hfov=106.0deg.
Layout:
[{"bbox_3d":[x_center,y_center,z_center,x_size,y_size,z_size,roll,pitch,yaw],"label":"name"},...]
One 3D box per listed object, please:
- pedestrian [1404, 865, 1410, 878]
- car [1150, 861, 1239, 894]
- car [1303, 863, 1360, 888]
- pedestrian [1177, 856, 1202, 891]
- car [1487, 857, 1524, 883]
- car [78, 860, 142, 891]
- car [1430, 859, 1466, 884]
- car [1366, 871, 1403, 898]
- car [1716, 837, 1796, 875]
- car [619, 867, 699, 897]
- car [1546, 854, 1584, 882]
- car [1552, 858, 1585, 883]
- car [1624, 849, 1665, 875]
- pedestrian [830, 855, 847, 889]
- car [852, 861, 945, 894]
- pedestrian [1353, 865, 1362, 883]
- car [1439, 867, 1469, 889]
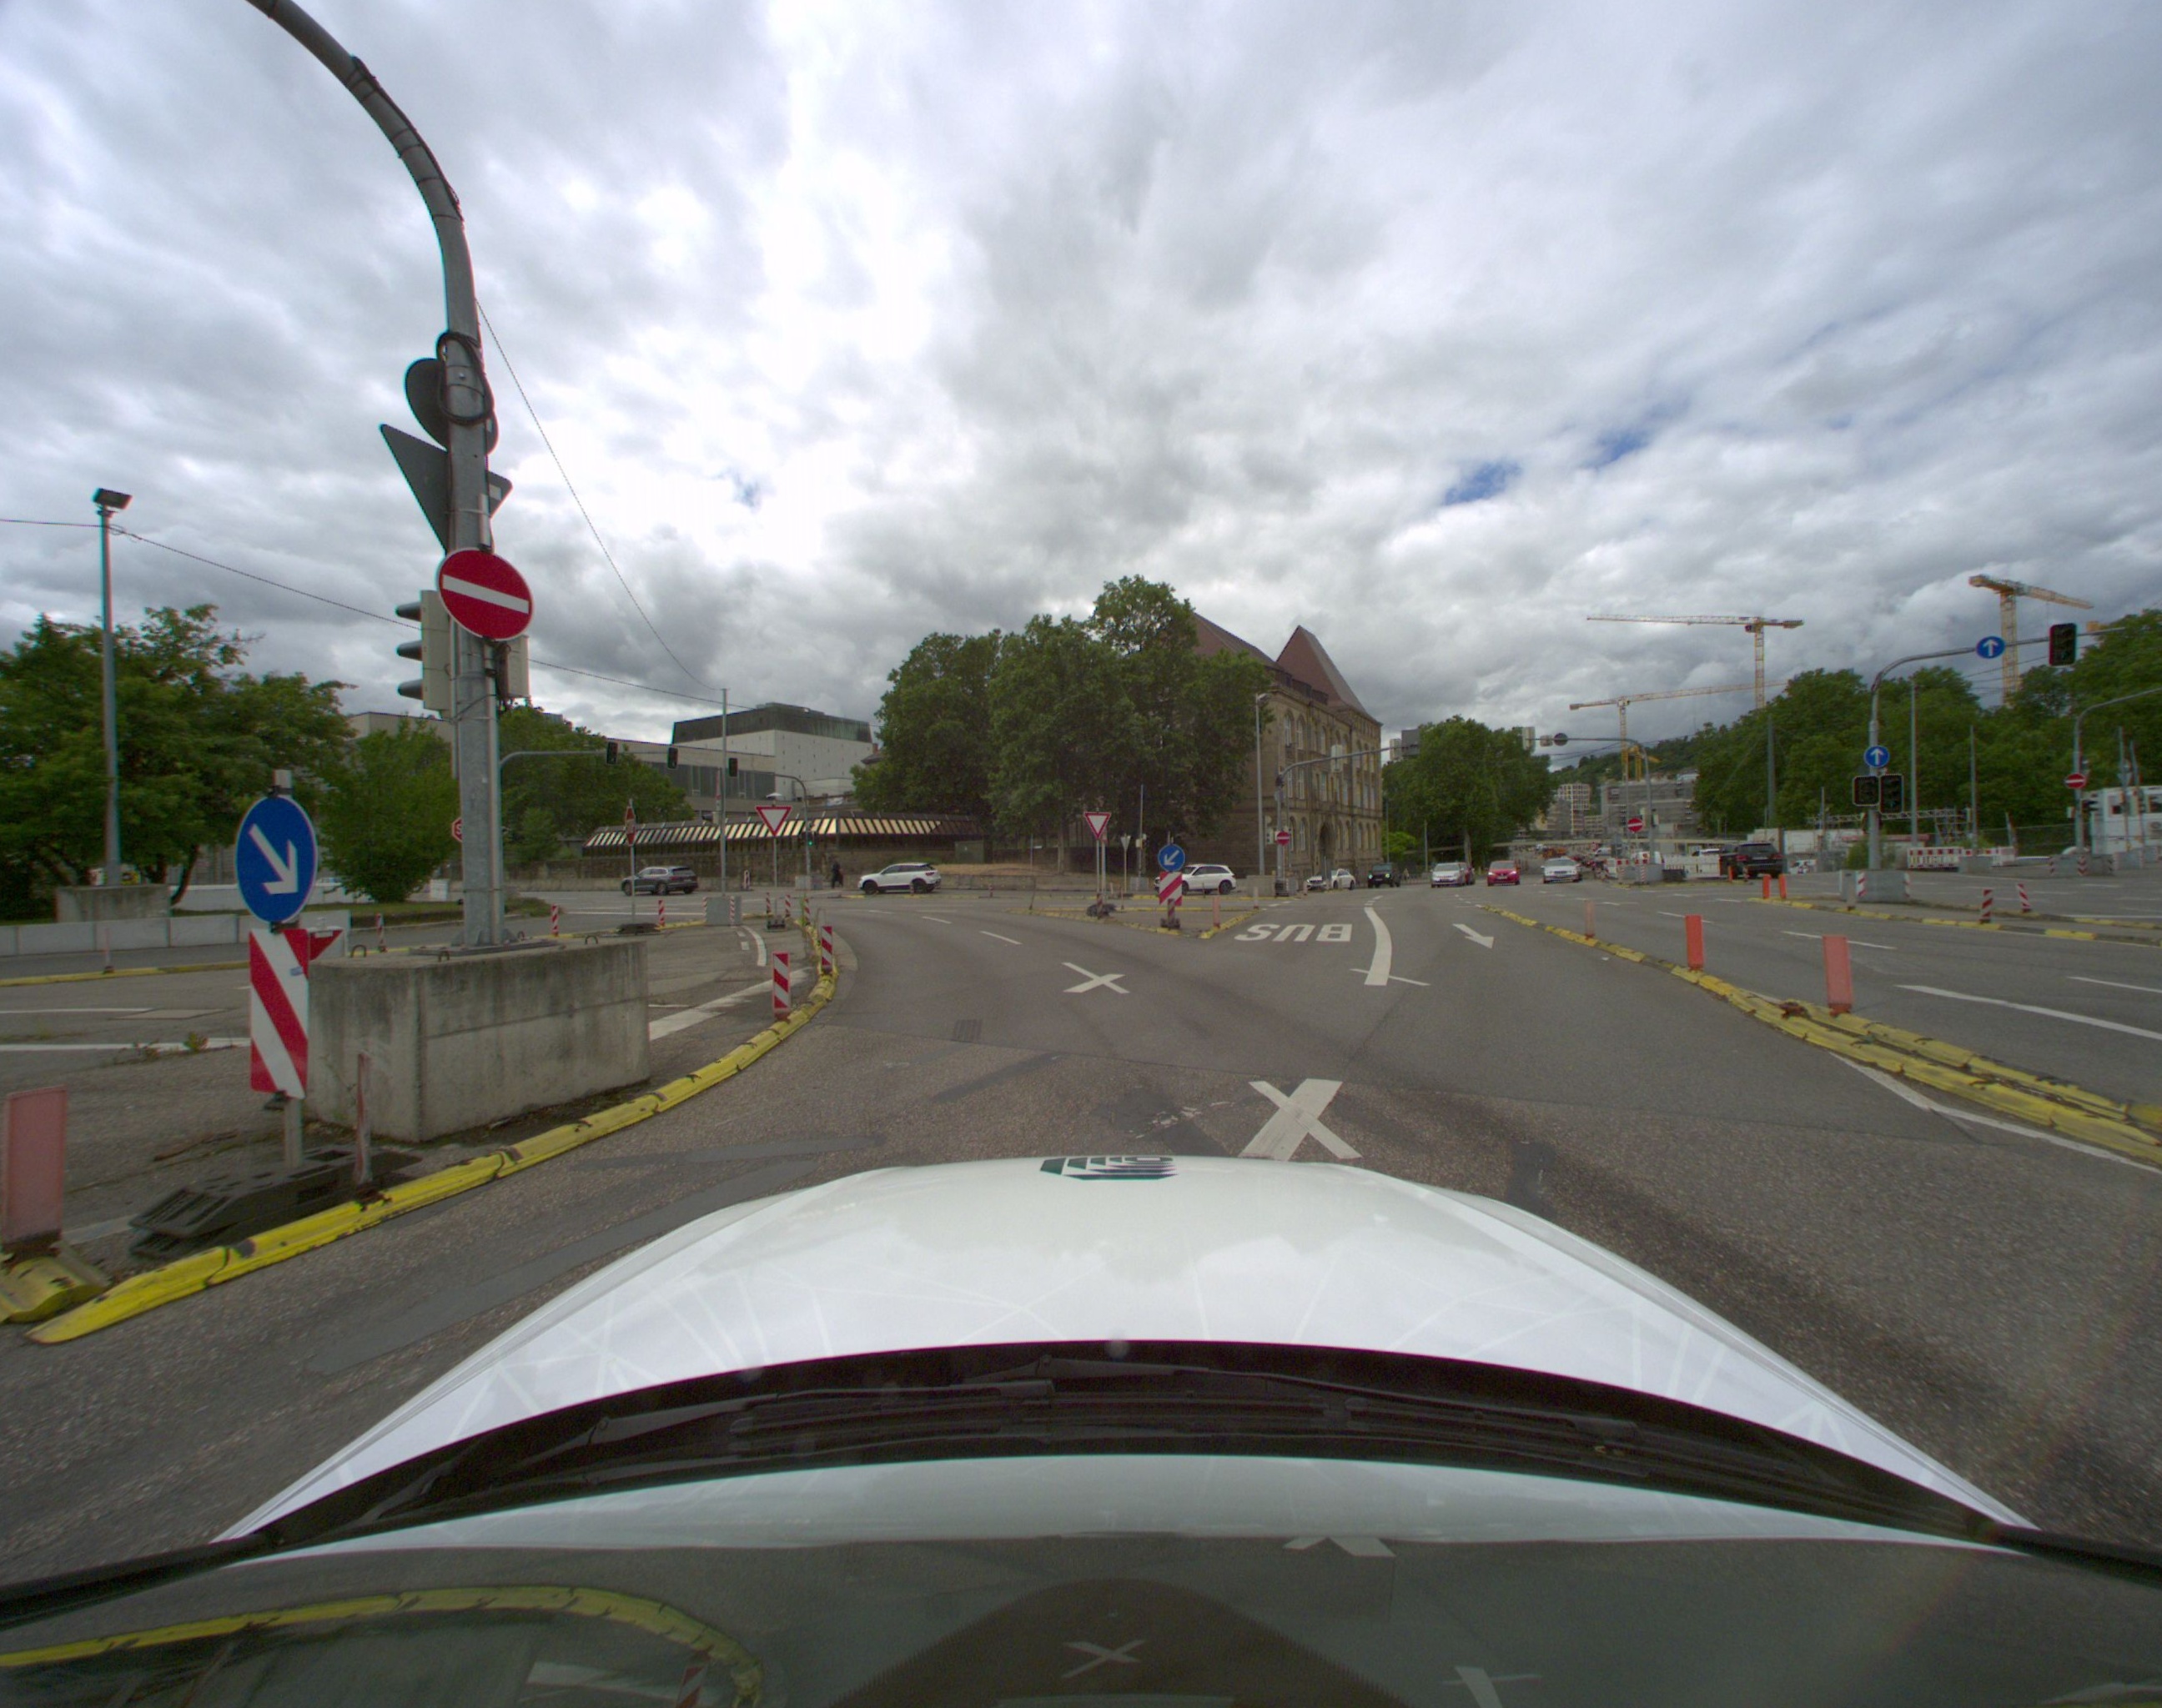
[{"bbox_3d":[42.113,2.301,105.114,0.653,1.635,0.856,-2,-2,26],"label":"pedestrian"},{"bbox_3d":[6.104,1.263,43.646,4.564,1.643,1.800,2,-2,-30],"label":"car"},{"bbox_3d":[16.087,1.365,52.160,1.718,1.435,4.408,-1,0,42],"label":"car"},{"bbox_3d":[6.428,1.162,48.328,1.190,2.014,1.200,-1,-1,-10],"label":"pedestrian"},{"bbox_3d":[24.654,0.913,47.215,1.669,1.435,3.468,-3,-2,30],"label":"car"},{"bbox_3d":[-81.348,1.787,68.231,5.455,2.374,2.607,-2,0,31],"label":"car"},{"bbox_3d":[22.489,1.095,49.855,1.644,1.436,3.467,-4,-3,28],"label":"car"},{"bbox_3d":[24.006,2.435,64.353,1.914,1.938,3.695,-4,-6,31],"label":"car"},{"bbox_3d":[31.956,0.116,38.688,1.921,1.667,3.662,-2,-1,23],"label":"car"},{"bbox_3d":[-24.467,1.592,47.171,4.423,1.567,1.840,-1,1,27],"label":"car"},{"bbox_3d":[27.261,0.780,45.931,1.672,1.435,3.468,-4,-2,30],"label":"car"},{"bbox_3d":[30.946,1.052,51.780,1.672,1.435,3.468,-4,-2,30],"label":"car"},{"bbox_3d":[38.518,0.539,55.723,1.742,1.687,3.664,-2,-1,26],"label":"car"},{"bbox_3d":[-14.428,1.067,48.442,0.846,2.014,0.622,-1,-2,-3],"label":"pedestrian"},{"bbox_3d":[-9.458,1.193,42.383,4.295,1.567,1.760,0,2,5],"label":"car"},{"bbox_3d":[25.738,1.841,75.726,0.653,1.635,0.856,-2,-2,26],"label":"pedestrian"},{"bbox_3d":[25.840,1.645,56.352,1.644,1.435,3.468,-1,0,28],"label":"car"}]
